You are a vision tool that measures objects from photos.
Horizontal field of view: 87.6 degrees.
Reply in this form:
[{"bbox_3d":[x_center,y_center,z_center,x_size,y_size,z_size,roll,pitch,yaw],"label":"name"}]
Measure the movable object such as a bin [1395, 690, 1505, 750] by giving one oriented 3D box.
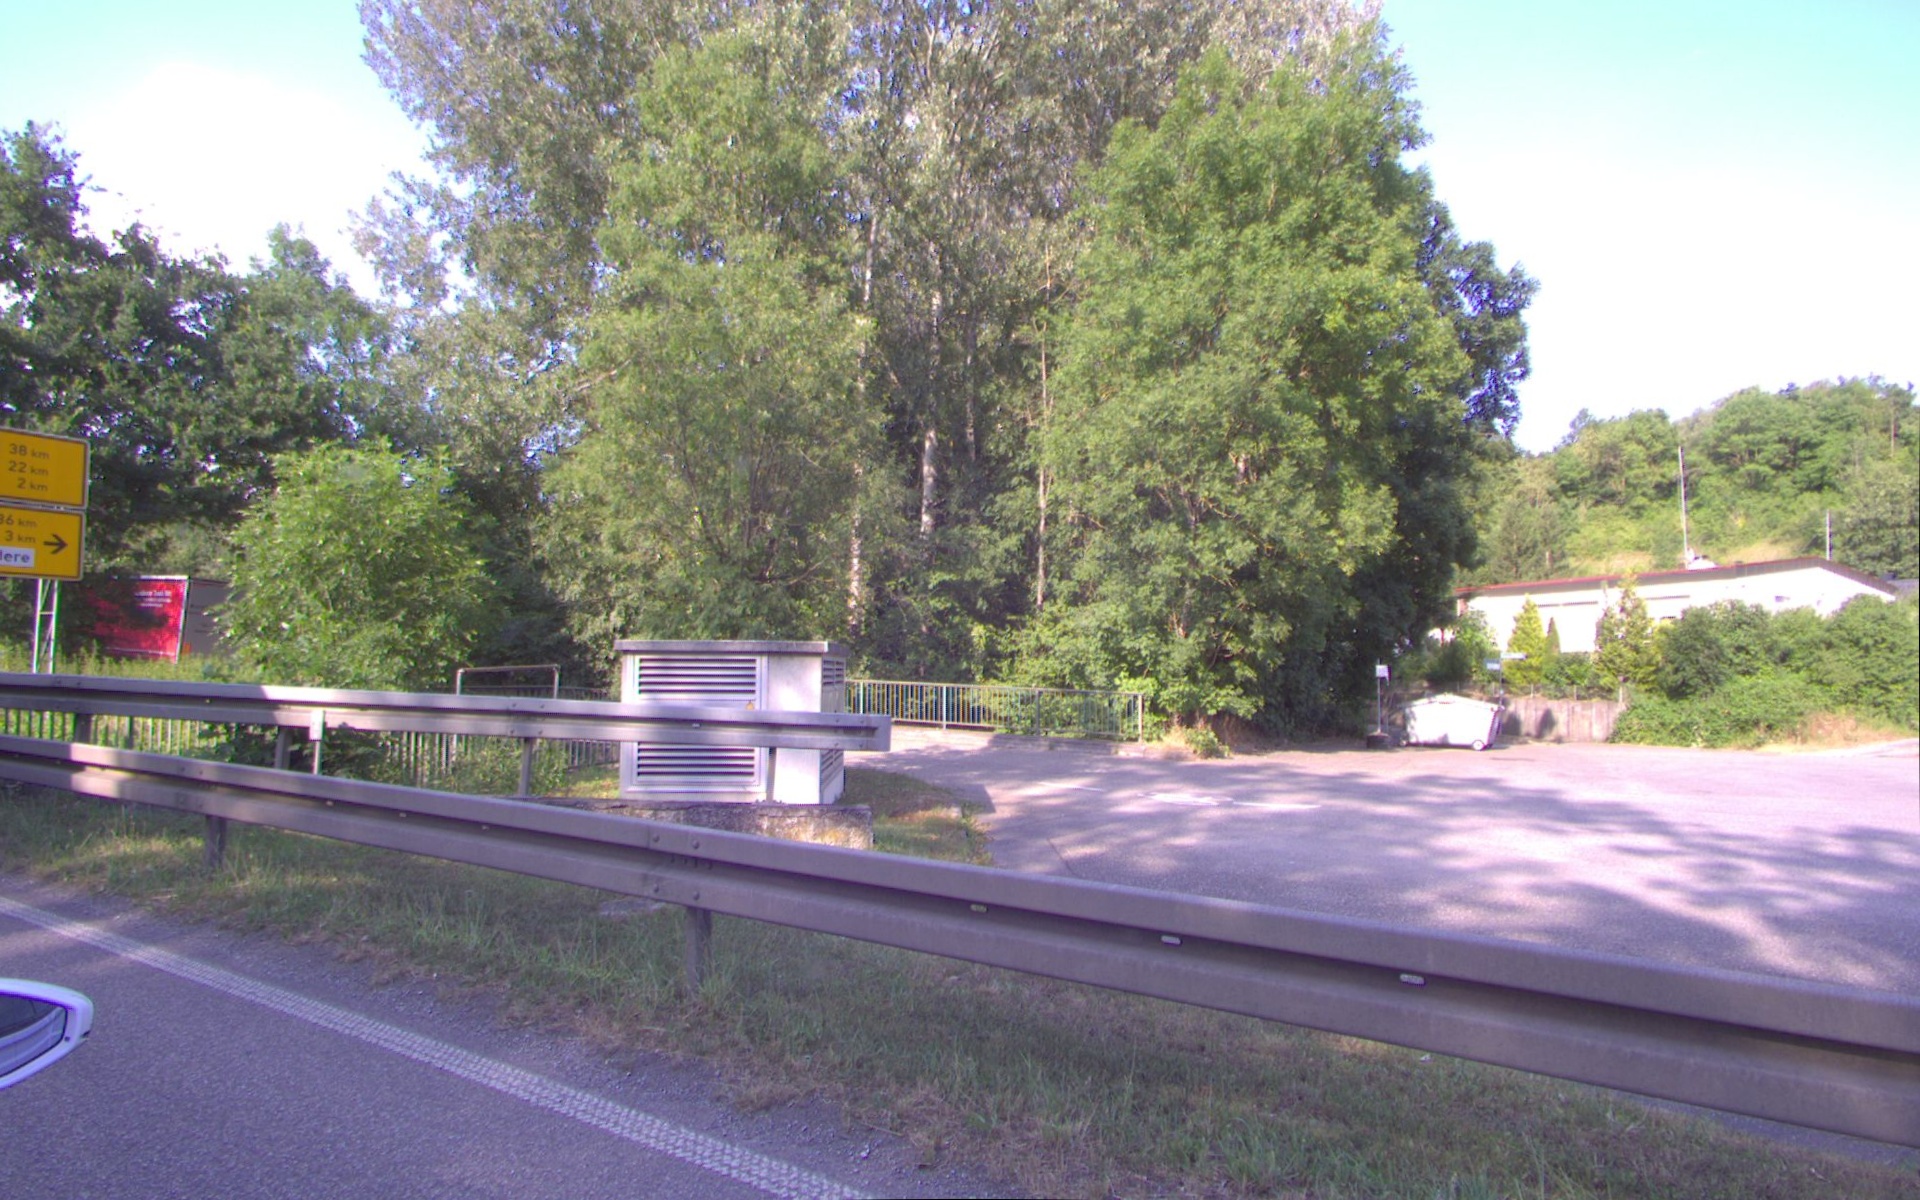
[{"bbox_3d":[13.073,3.182,26.714,2.521,1.436,1.265,-1,-5,32],"label":"movable object such as a bin"}]
